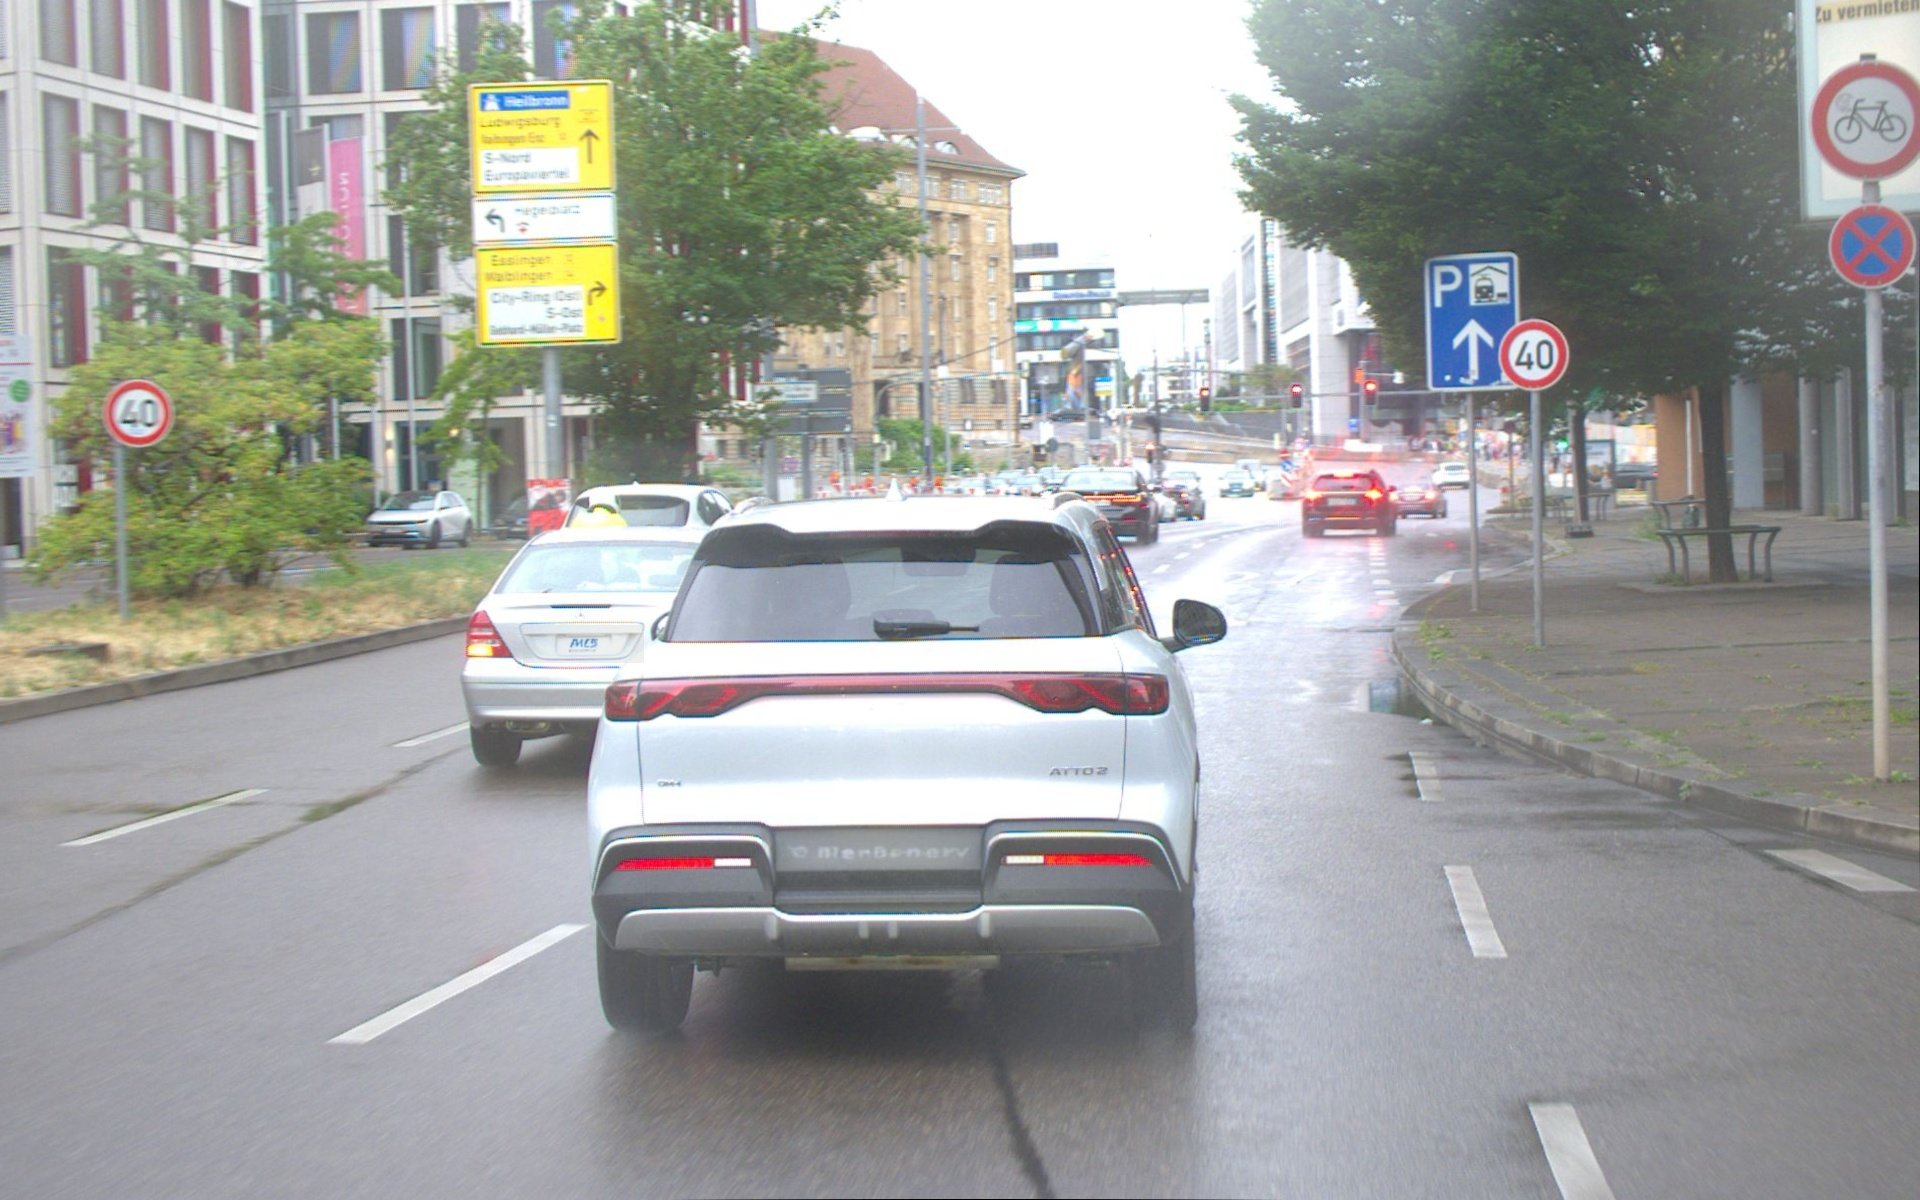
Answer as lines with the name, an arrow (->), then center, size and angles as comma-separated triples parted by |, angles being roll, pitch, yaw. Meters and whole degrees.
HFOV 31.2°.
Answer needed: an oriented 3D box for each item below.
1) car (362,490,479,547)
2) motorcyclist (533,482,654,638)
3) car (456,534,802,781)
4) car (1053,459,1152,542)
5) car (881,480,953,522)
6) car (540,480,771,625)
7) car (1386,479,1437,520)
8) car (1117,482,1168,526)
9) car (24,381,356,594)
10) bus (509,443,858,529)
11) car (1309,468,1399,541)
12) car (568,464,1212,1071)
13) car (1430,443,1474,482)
car -> -14.640, -2.225, 93.513 | 1.994, 1.483, 3.999 | -1, 2, 9
motorcyclist -> -3.288, -0.352, 30.898 | 0.770, 1.375, 1.118 | 0, 0, 12
car -> -1.992, 0.322, 21.733 | 1.571, 1.402, 4.109 | 0, 0, 3
car -> 2.785, -1.897, 66.466 | 1.571, 1.481, 3.999 | 0, 0, 7
car -> -1.558, -3.641, 126.125 | 1.994, 1.481, 3.999 | -1, 2, 9
car -> -3.247, -0.494, 37.377 | 1.707, 1.481, 3.999 | 0, 0, 7
car -> 17.574, -3.896, 133.720 | 1.694, 1.481, 3.998 | 0, 0, 11
car -> 6.999, -3.654, 131.538 | 1.888, 1.637, 4.000 | -1, 1, 4
car -> -7.756, -1.077, 35.116 | 1.994, 2.007, 4.848 | 0, 0, 4
bus -> -13.894, -5.702, 173.489 | 16.968, 4.049, 4.436 | 0, 0, 7
car -> 8.658, -2.076, 75.318 | 1.694, 1.481, 3.998 | 0, 0, 10
car -> -0.072, 0.448, 11.519 | 1.776, 1.673, 4.000 | 0, 1, 4
car -> 27.728, -7.757, 194.004 | 1.993, 2.007, 4.000 | 0, 0, 1
